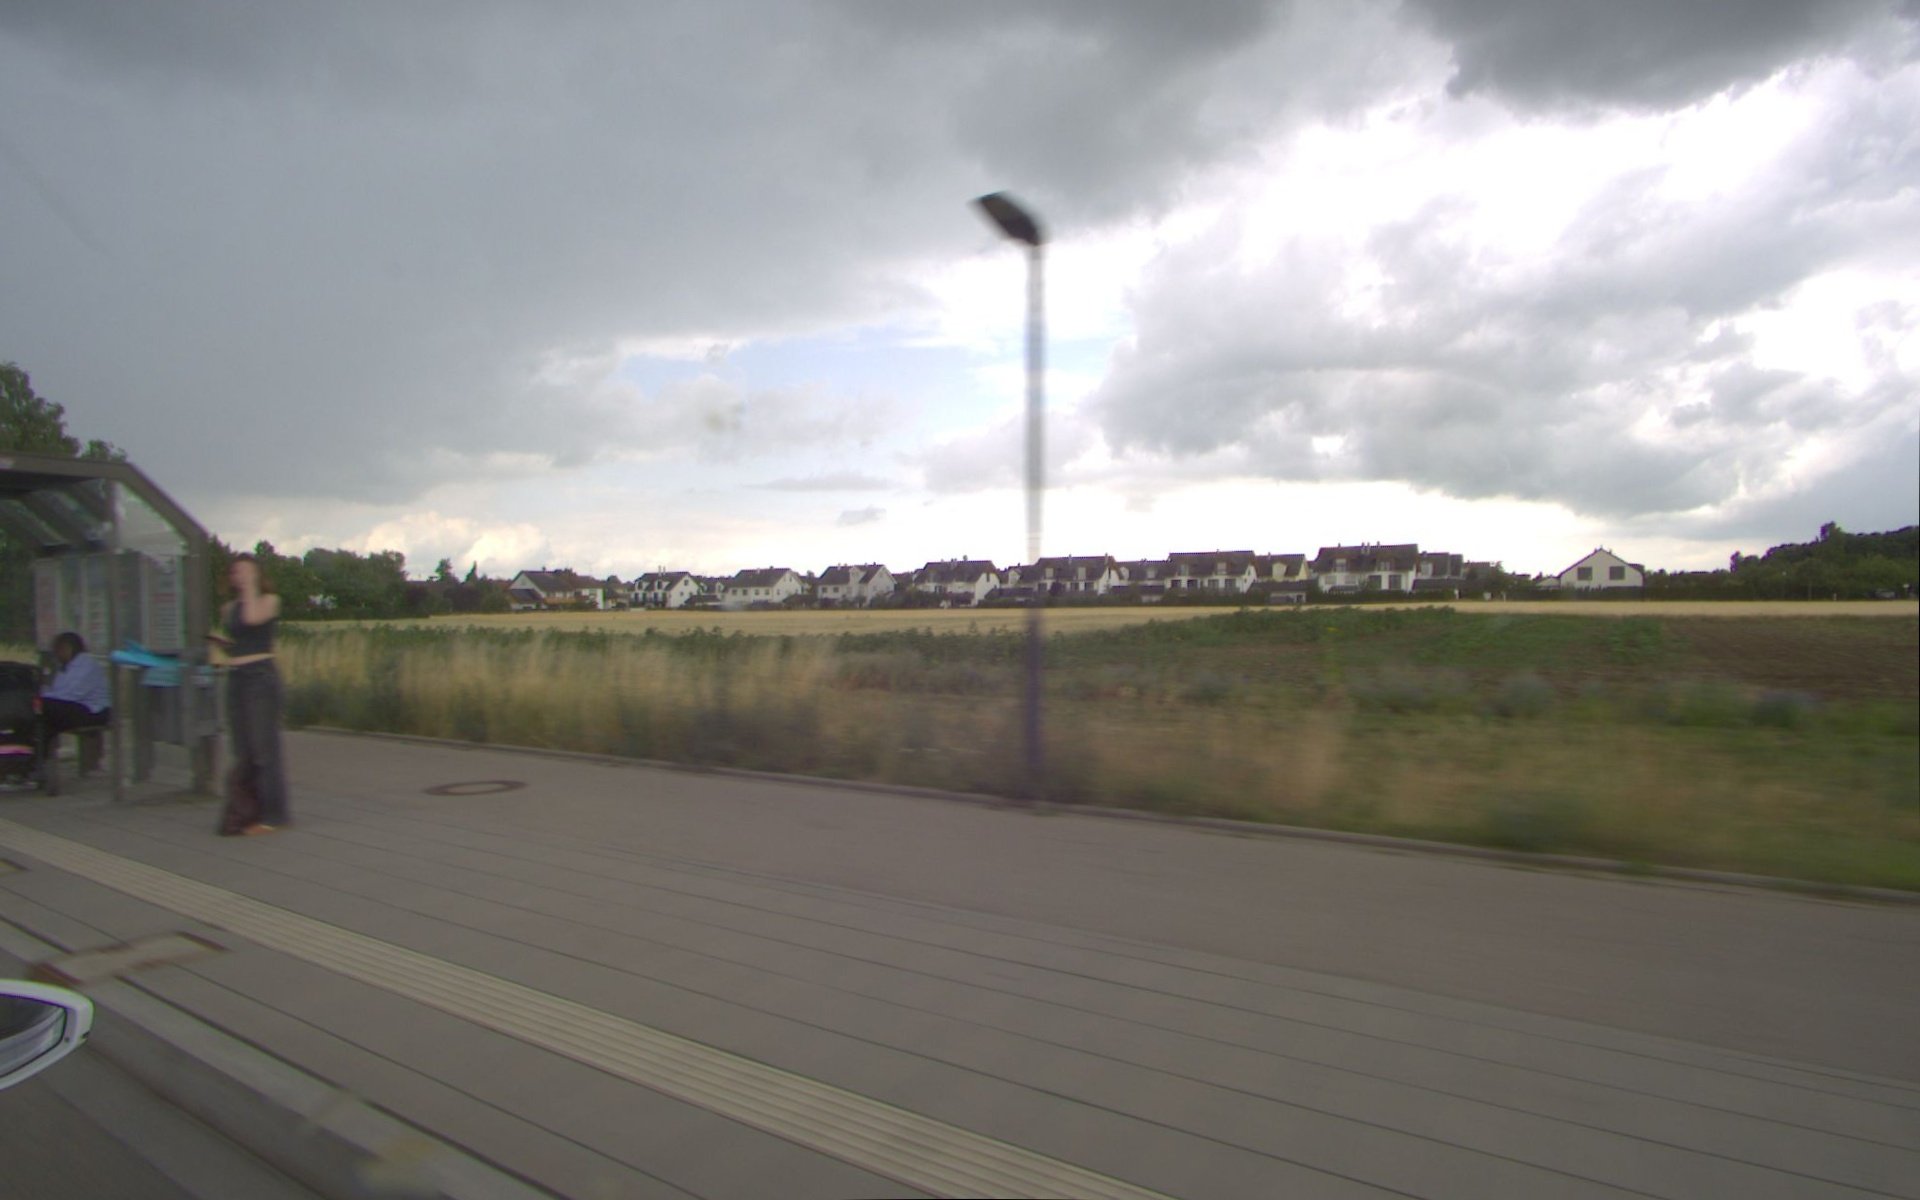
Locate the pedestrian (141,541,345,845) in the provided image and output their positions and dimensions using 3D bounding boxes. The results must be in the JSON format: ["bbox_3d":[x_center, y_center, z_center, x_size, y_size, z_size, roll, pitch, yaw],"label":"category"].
[{"bbox_3d":[-4.635,0.572,6.504,0.766,1.815,0.782,0,-1,23],"label":"pedestrian"}]

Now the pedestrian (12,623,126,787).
[{"bbox_3d":[-7.559,0.860,8.501,0.499,1.319,0.661,-1,-1,41],"label":"pedestrian"}]

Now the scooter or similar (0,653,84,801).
[{"bbox_3d":[-7.515,0.963,7.808,0.697,1.075,1.057,0,-1,-21],"label":"scooter or similar"}]
